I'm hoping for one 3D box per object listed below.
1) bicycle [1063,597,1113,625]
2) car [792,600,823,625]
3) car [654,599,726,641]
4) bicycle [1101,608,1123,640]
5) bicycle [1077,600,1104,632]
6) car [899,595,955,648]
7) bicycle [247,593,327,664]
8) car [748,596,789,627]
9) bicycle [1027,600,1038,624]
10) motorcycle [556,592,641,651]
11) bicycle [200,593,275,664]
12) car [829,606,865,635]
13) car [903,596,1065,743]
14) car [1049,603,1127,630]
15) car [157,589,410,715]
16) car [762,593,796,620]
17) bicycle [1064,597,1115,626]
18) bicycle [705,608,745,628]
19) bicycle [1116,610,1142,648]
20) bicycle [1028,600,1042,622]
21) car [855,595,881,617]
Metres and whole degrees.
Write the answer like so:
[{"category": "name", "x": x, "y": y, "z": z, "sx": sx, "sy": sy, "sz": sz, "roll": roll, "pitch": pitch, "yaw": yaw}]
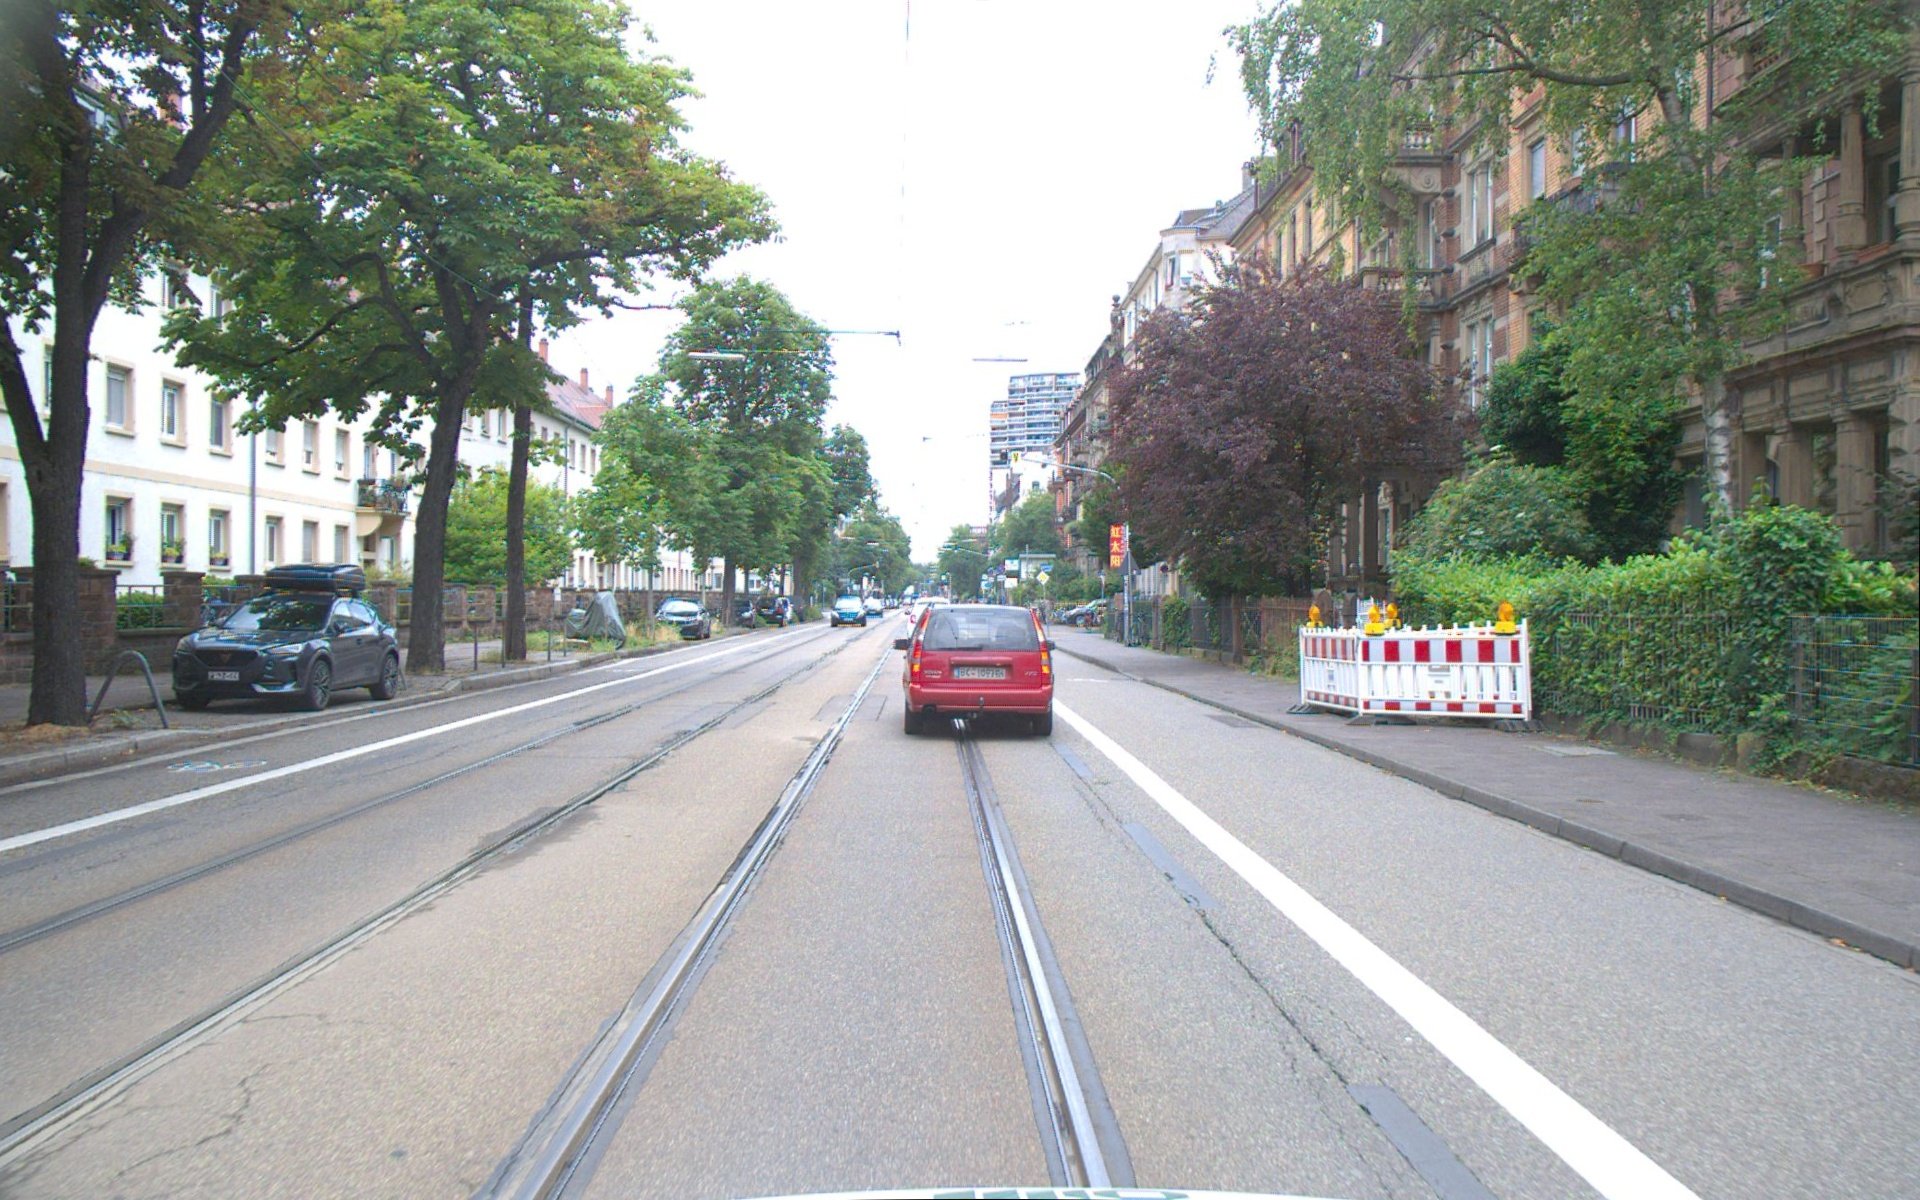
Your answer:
[{"category": "bicycle", "x": 7.778, "y": 0.670, "z": 100.545, "sx": 2.916, "sy": 1.653, "sz": 1.049, "roll": 1, "pitch": 0, "yaw": -4}, {"category": "car", "x": -9.742, "y": 0.796, "z": 105.874, "sx": 1.685, "sy": 1.512, "sz": 3.999, "roll": 0, "pitch": 0, "yaw": -1}, {"category": "car", "x": -9.728, "y": 0.687, "z": 59.876, "sx": 1.851, "sy": 1.422, "sz": 4.416, "roll": 1, "pitch": 0, "yaw": 0}, {"category": "bicycle", "x": 5.152, "y": 0.806, "z": 56.101, "sx": 0.512, "sy": 1.048, "sz": 2.175, "roll": 0, "pitch": 0, "yaw": -2}, {"category": "bicycle", "x": 6.463, "y": 0.776, "z": 82.010, "sx": 0.898, "sy": 1.533, "sz": 2.382, "roll": 1, "pitch": 0, "yaw": 15}, {"category": "car", "x": -1.058, "y": 0.674, "z": 54.547, "sx": 1.683, "sy": 1.653, "sz": 3.941, "roll": 1, "pitch": 0, "yaw": 1}, {"category": "bicycle", "x": -13.771, "y": 0.560, "z": 33.894, "sx": 0.776, "sy": 1.406, "sz": 2.140, "roll": 0, "pitch": 0, "yaw": -1}, {"category": "car", "x": -10.359, "y": 0.617, "z": 89.545, "sx": 1.813, "sy": 1.590, "sz": 3.942, "roll": 1, "pitch": 0, "yaw": -1}, {"category": "bicycle", "x": 4.431, "y": 0.722, "z": 101.452, "sx": 0.540, "sy": 1.424, "sz": 1.733, "roll": 0, "pitch": 0, "yaw": -1}, {"category": "motorcycle", "x": -9.769, "y": 0.581, "z": 44.669, "sx": 2.225, "sy": 1.538, "sz": 0.924, "roll": 0, "pitch": -2, "yaw": 34}, {"category": "bicycle", "x": -14.754, "y": 0.558, "z": 33.827, "sx": 0.615, "sy": 1.406, "sz": 2.140, "roll": 0, "pitch": 0, "yaw": -1}, {"category": "car", "x": -5.829, "y": 1.057, "z": 85.637, "sx": 1.720, "sy": 1.404, "sz": 4.025, "roll": 1, "pitch": 0, "yaw": -2}, {"category": "car", "x": 0.209, "y": 0.723, "z": 19.114, "sx": 1.655, "sy": 1.466, "sz": 3.742, "roll": 2, "pitch": 0, "yaw": -1}, {"category": "car", "x": 6.686, "y": 0.848, "z": 86.359, "sx": 3.902, "sy": 1.385, "sz": 1.894, "roll": 0, "pitch": 0, "yaw": 9}, {"category": "car", "x": -9.170, "y": 0.649, "z": 22.811, "sx": 1.741, "sy": 1.537, "sz": 4.237, "roll": 1, "pitch": 0, "yaw": 0}, {"category": "car", "x": -11.072, "y": 0.376, "z": 101.188, "sx": 1.678, "sy": 1.608, "sz": 3.999, "roll": 2, "pitch": 0, "yaw": -1}, {"category": "bicycle", "x": 7.712, "y": 0.671, "z": 98.726, "sx": 2.916, "sy": 1.653, "sz": 1.049, "roll": 1, "pitch": 0, "yaw": -4}, {"category": "bicycle", "x": -10.633, "y": 0.828, "z": 74.972, "sx": 1.713, "sy": 0.858, "sz": 0.684, "roll": 1, "pitch": 0, "yaw": -1}, {"category": "bicycle", "x": 5.219, "y": 0.886, "z": 51.225, "sx": 0.512, "sy": 1.119, "sz": 2.175, "roll": 1, "pitch": 0, "yaw": -2}, {"category": "bicycle", "x": 4.443, "y": 0.644, "z": 97.677, "sx": 0.694, "sy": 1.323, "sz": 1.903, "roll": 0, "pitch": 0, "yaw": -1}, {"category": "car", "x": -7.276, "y": 0.473, "z": 131.011, "sx": 1.855, "sy": 1.639, "sz": 4.499, "roll": 1, "pitch": 0, "yaw": -2}]
